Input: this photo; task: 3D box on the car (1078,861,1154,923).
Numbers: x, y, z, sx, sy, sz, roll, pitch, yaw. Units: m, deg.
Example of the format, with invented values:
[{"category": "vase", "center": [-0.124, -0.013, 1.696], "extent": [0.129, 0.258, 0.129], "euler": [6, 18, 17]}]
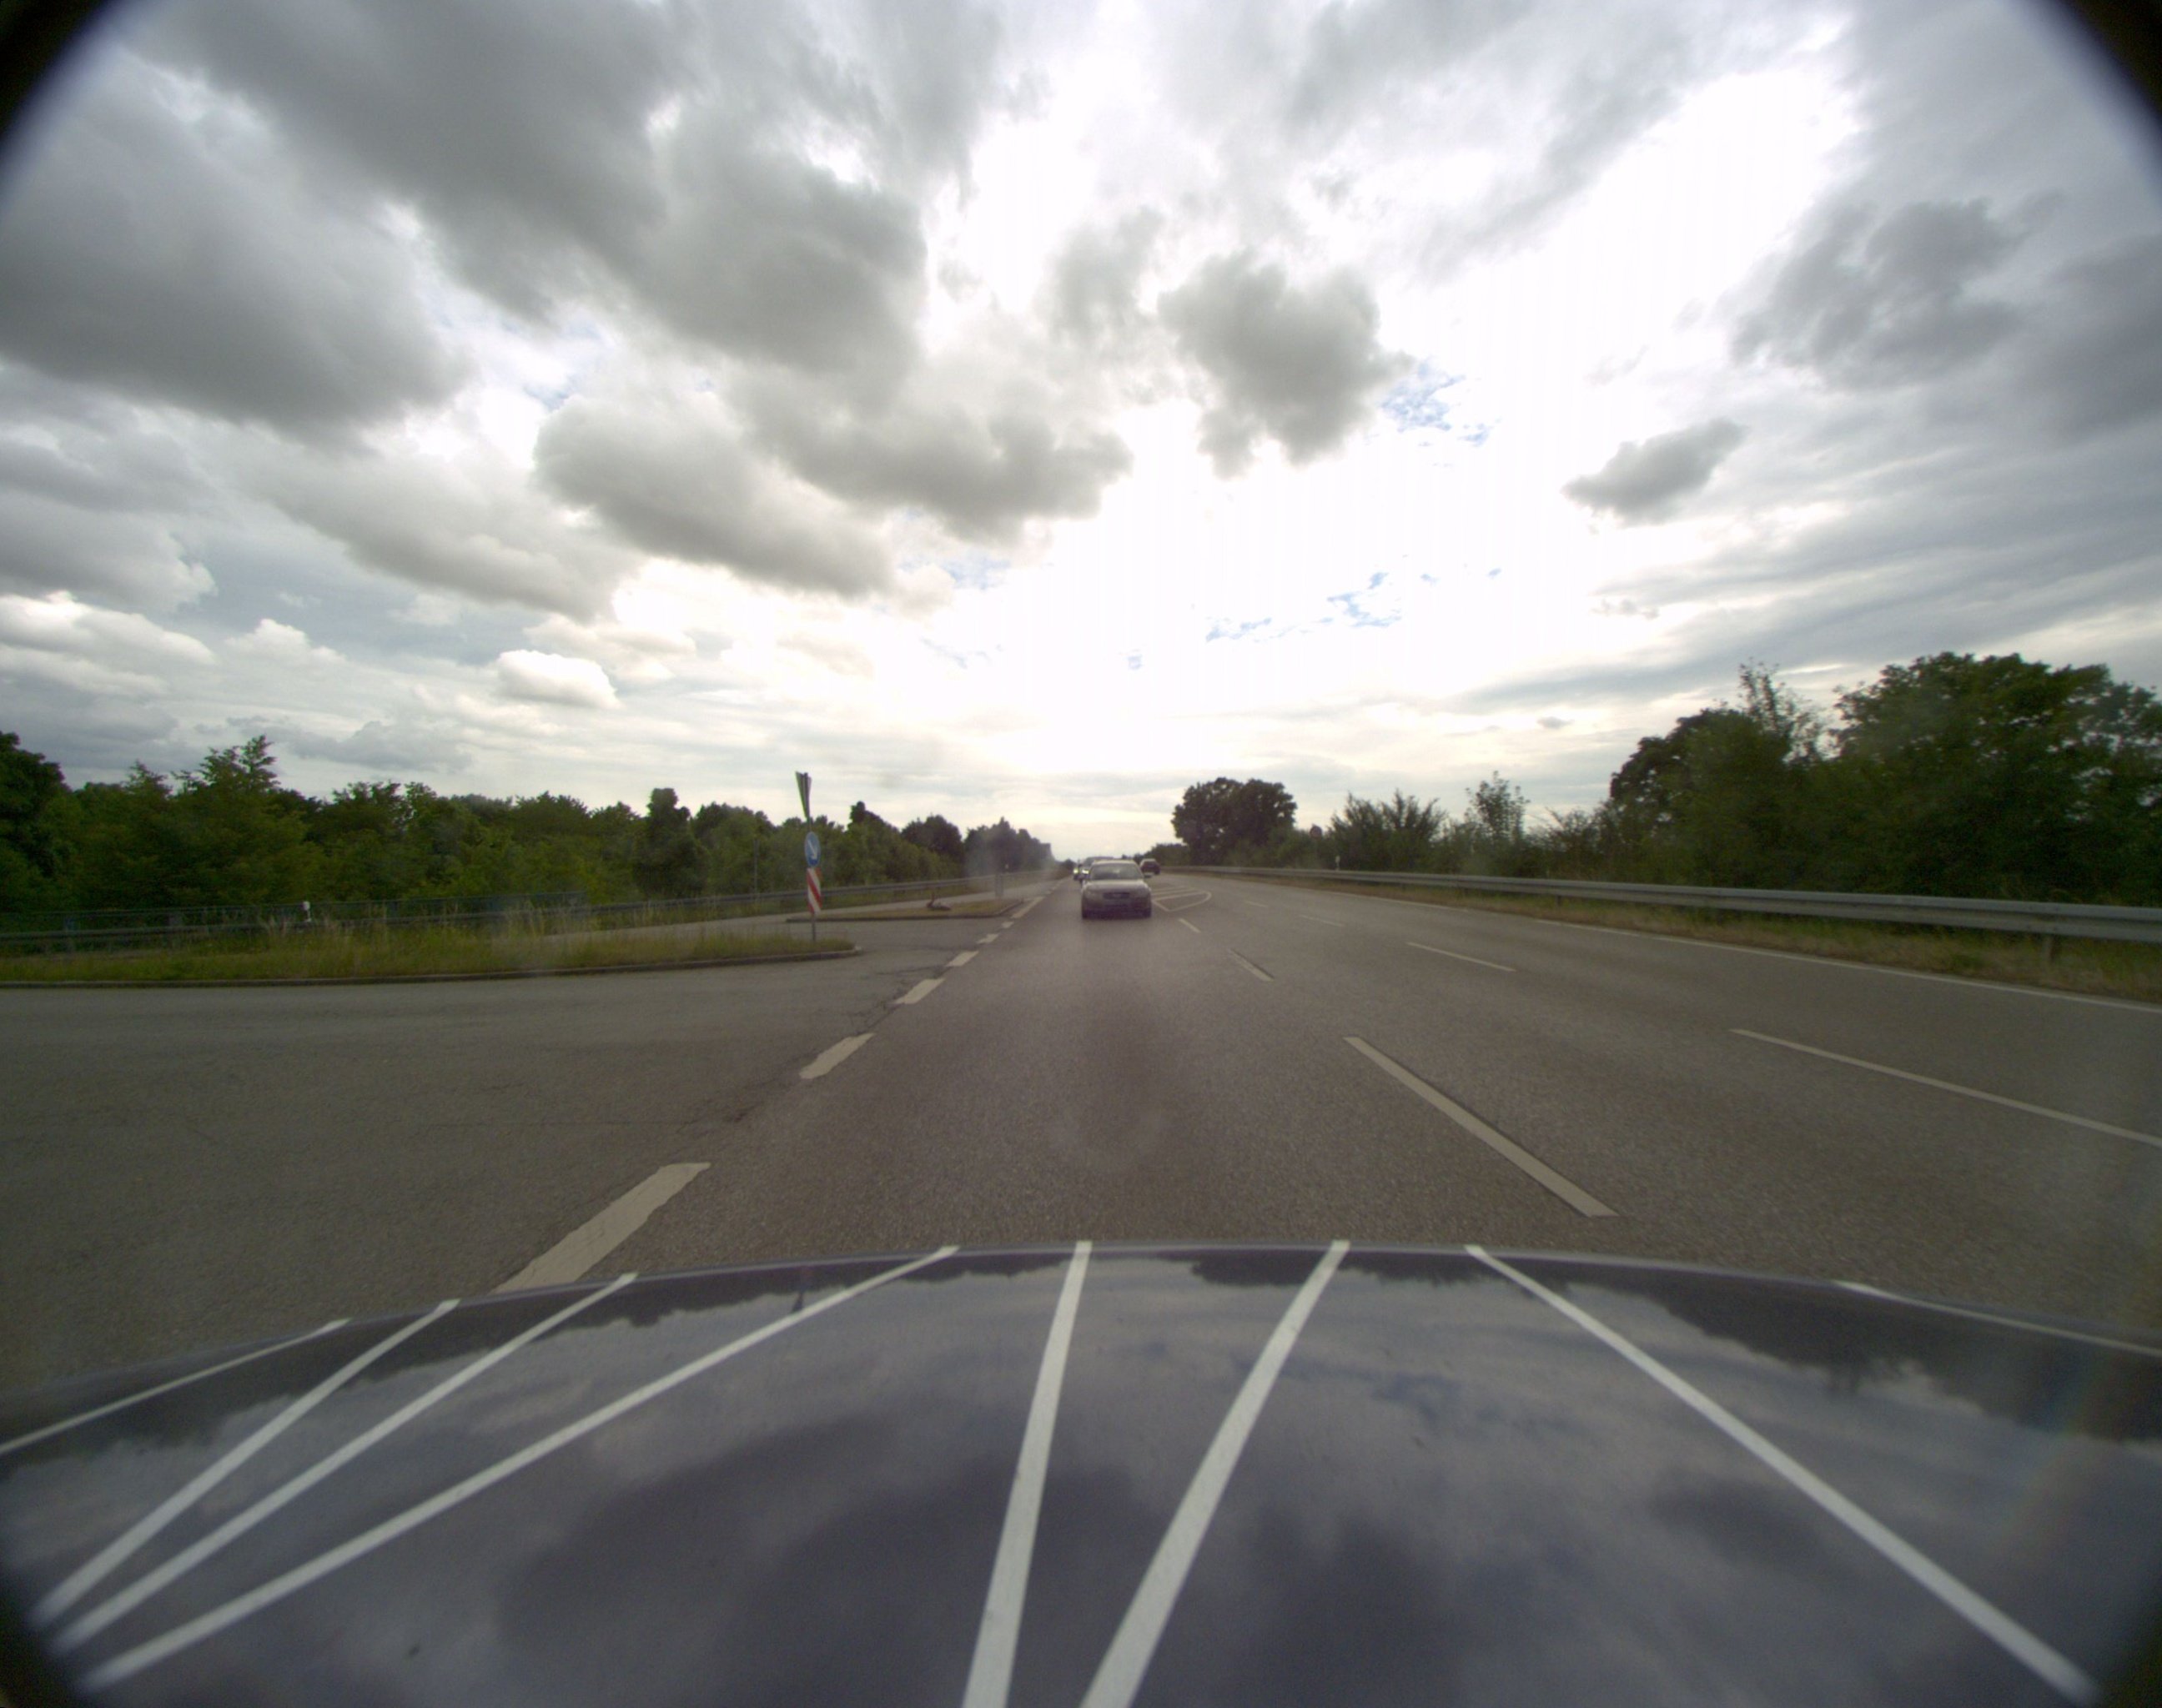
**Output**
[{"category": "car", "center": [0.859, 0.930, 20.267], "extent": [1.784, 1.441, 4.035], "euler": [-2, -1, 0]}]

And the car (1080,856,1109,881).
[{"category": "car", "center": [0.881, 0.928, 50.561], "extent": [1.835, 1.537, 4.035], "euler": [-2, -1, 0]}]

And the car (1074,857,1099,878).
[{"category": "car", "center": [0.420, 1.066, 60.062], "extent": [1.835, 1.537, 4.035], "euler": [-2, -1, 0]}]

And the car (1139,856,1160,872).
[{"category": "car", "center": [6.676, 0.973, 74.316], "extent": [1.715, 1.514, 4.000], "euler": [-2, 0, 1]}]

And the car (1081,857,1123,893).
[{"category": "car", "center": [0.965, 0.972, 36.034], "extent": [1.835, 1.537, 4.035], "euler": [-2, -1, 0]}]
